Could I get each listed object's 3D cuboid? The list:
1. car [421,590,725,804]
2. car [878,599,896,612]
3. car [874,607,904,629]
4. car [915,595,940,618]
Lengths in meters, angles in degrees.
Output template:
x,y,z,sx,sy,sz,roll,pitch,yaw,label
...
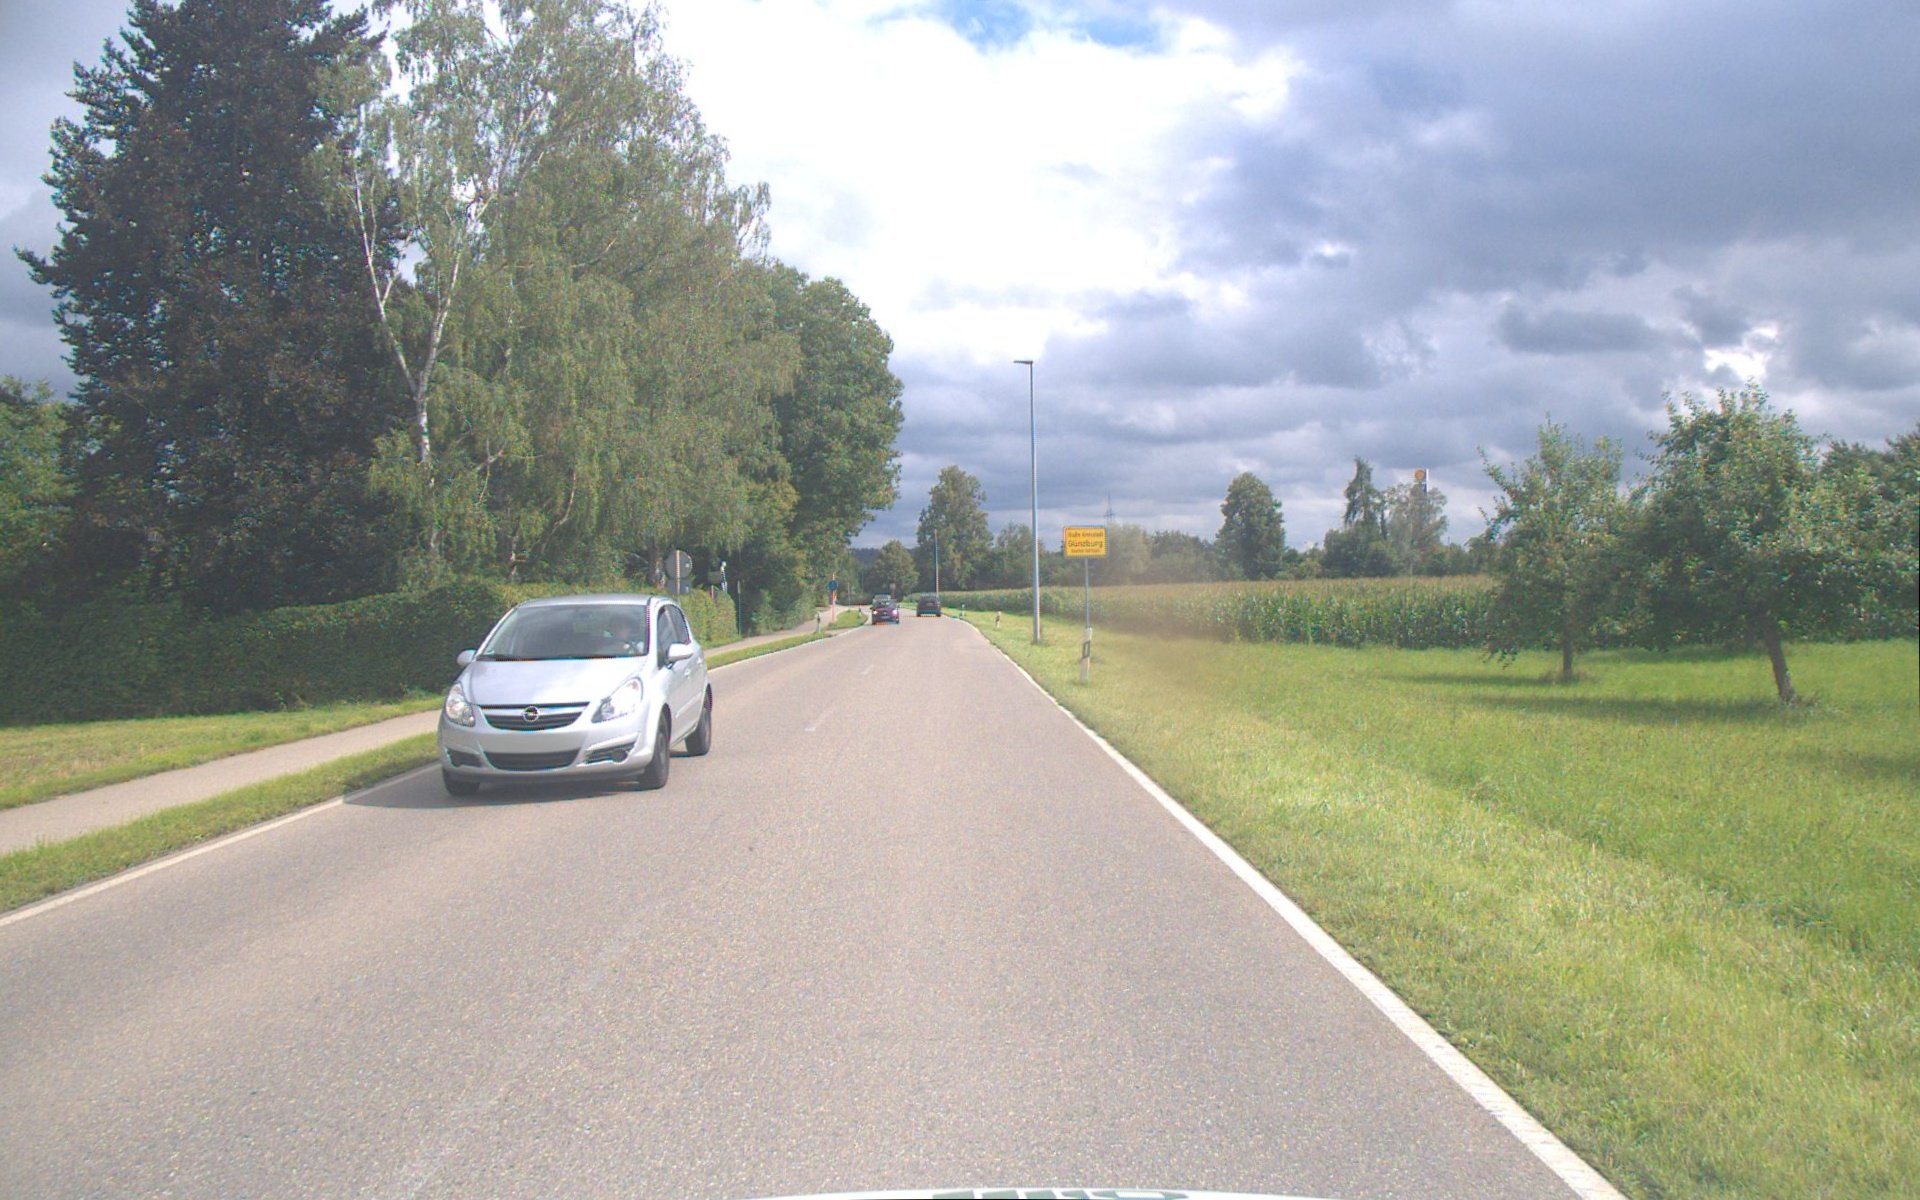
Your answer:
x,y,z,sx,sy,sz,roll,pitch,yaw,label
-3.018,0.685,13.600,1.660,1.484,3.542,-1,0,-1,car
-7.478,0.513,170.003,1.710,1.243,3.542,-2,0,-1,car
-4.312,1.098,101.027,1.710,1.243,3.542,-2,0,-1,car
-2.560,0.504,129.904,1.868,1.695,3.999,-1,0,-1,car
